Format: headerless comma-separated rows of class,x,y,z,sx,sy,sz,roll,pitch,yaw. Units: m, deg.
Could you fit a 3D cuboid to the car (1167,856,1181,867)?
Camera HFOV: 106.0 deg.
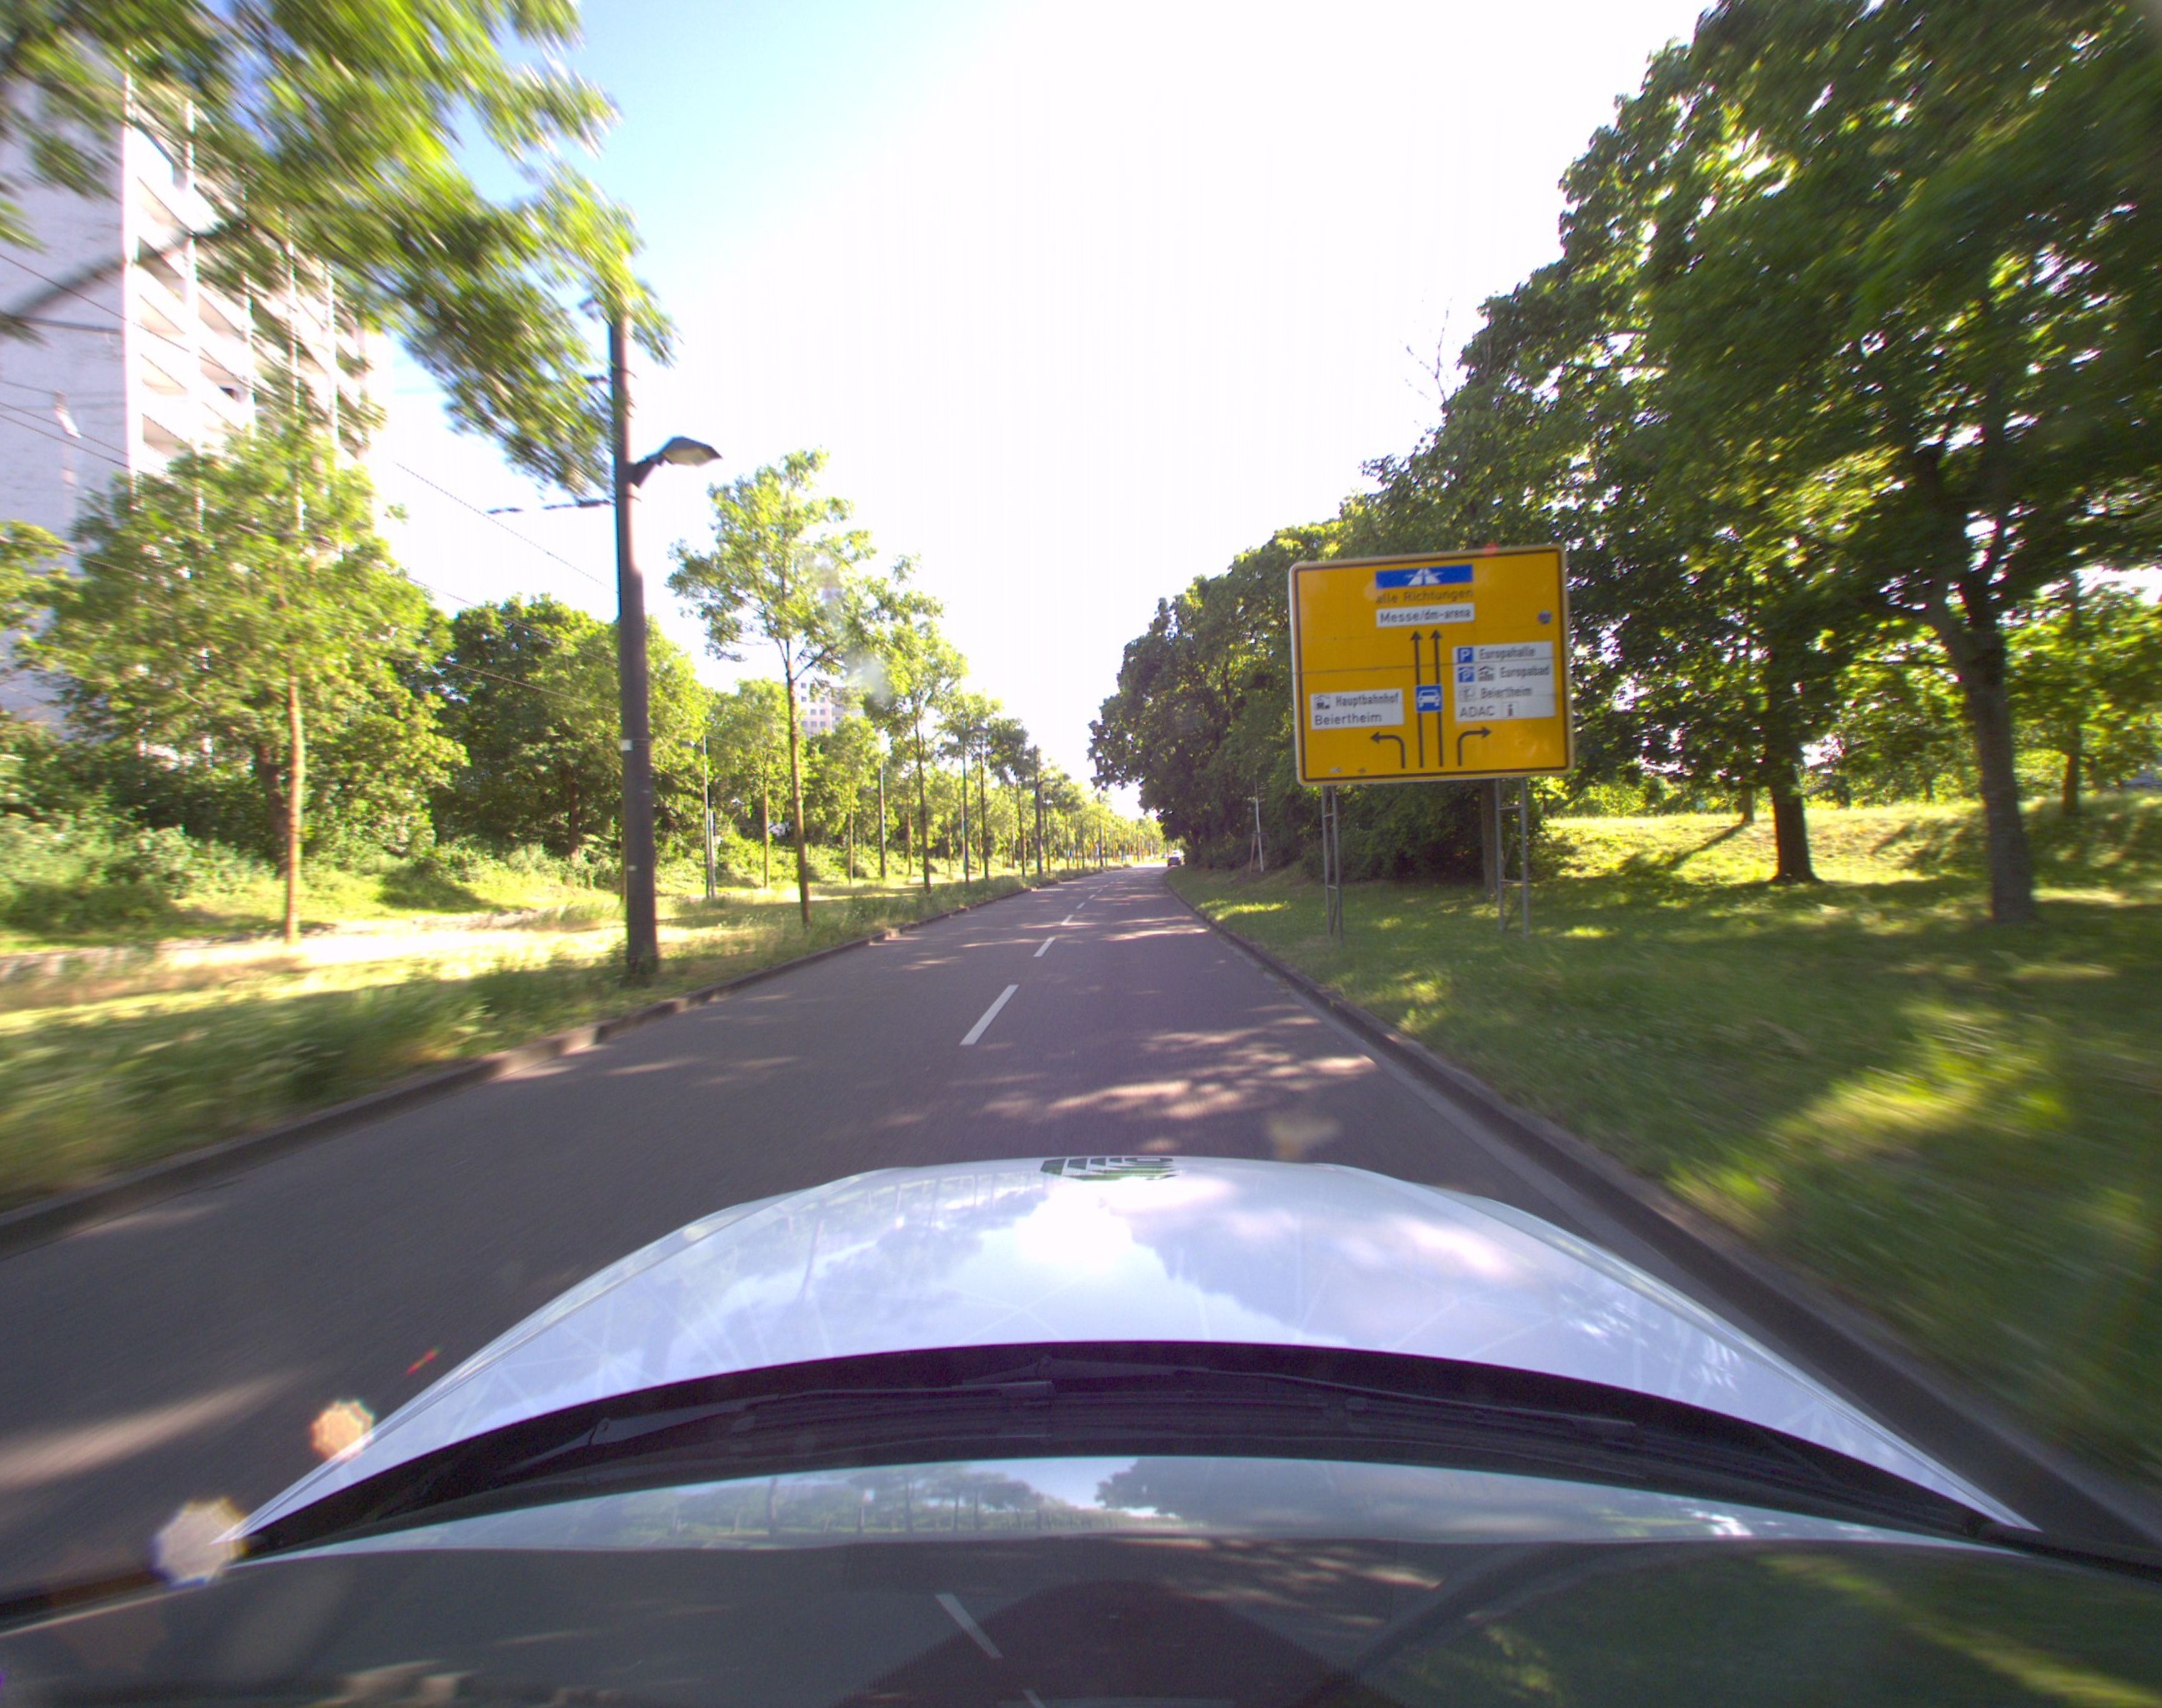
car,12.896,1.063,112.772,1.624,1.498,4.246,-2,0,10
